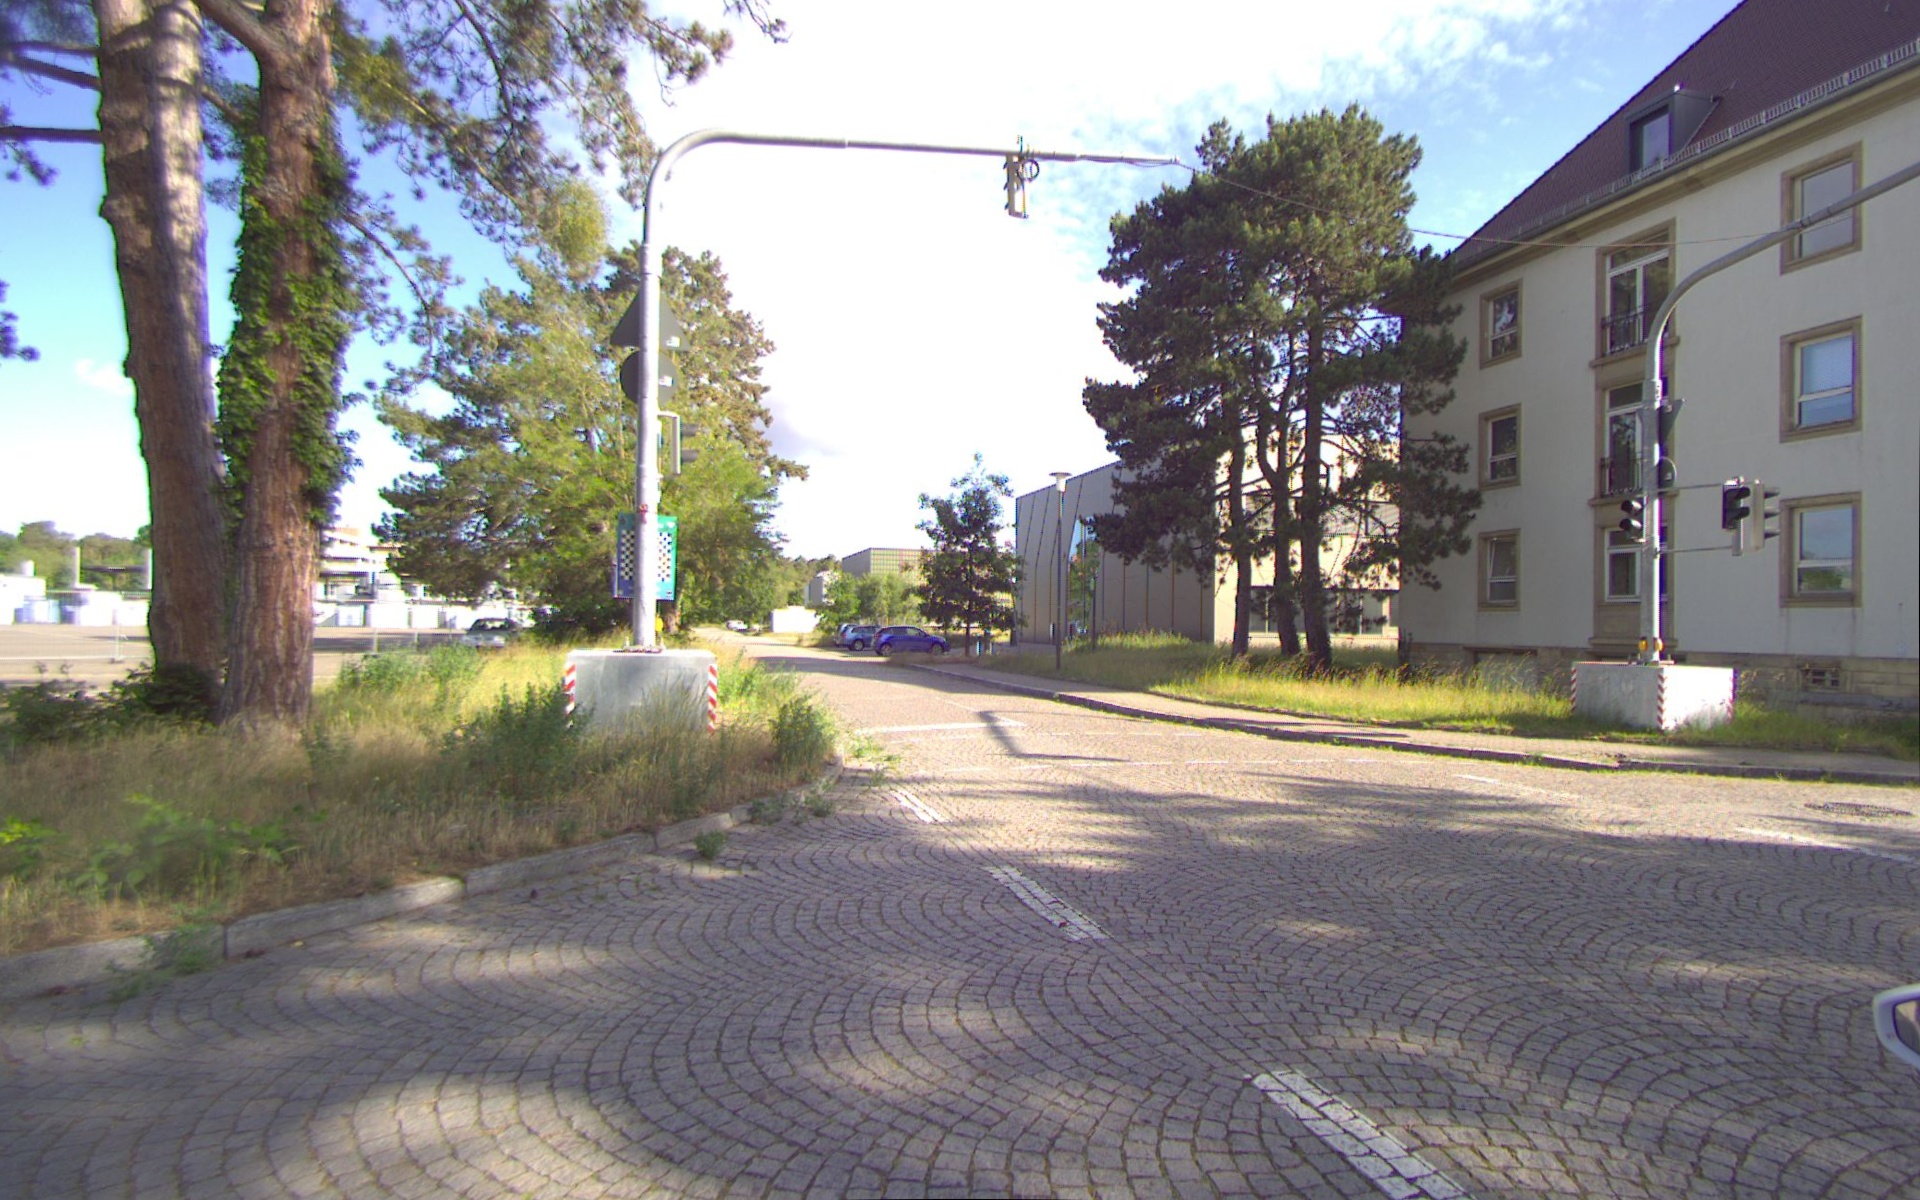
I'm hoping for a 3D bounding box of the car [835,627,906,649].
[{"bbox_3d":[-5.252,2.216,58.858,3.931,1.221,1.488,1,-1,-13],"label":"car"}]

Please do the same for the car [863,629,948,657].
[{"bbox_3d":[-2.721,2.137,49.854,3.982,1.311,1.488,1,-1,-14],"label":"car"}]

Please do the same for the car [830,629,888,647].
[{"bbox_3d":[-6.634,2.480,66.010,3.616,1.090,1.406,1,-1,-13],"label":"car"}]

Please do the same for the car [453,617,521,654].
[{"bbox_3d":[-18.603,1.384,39.649,1.717,1.388,3.613,1,-1,-14],"label":"car"}]
